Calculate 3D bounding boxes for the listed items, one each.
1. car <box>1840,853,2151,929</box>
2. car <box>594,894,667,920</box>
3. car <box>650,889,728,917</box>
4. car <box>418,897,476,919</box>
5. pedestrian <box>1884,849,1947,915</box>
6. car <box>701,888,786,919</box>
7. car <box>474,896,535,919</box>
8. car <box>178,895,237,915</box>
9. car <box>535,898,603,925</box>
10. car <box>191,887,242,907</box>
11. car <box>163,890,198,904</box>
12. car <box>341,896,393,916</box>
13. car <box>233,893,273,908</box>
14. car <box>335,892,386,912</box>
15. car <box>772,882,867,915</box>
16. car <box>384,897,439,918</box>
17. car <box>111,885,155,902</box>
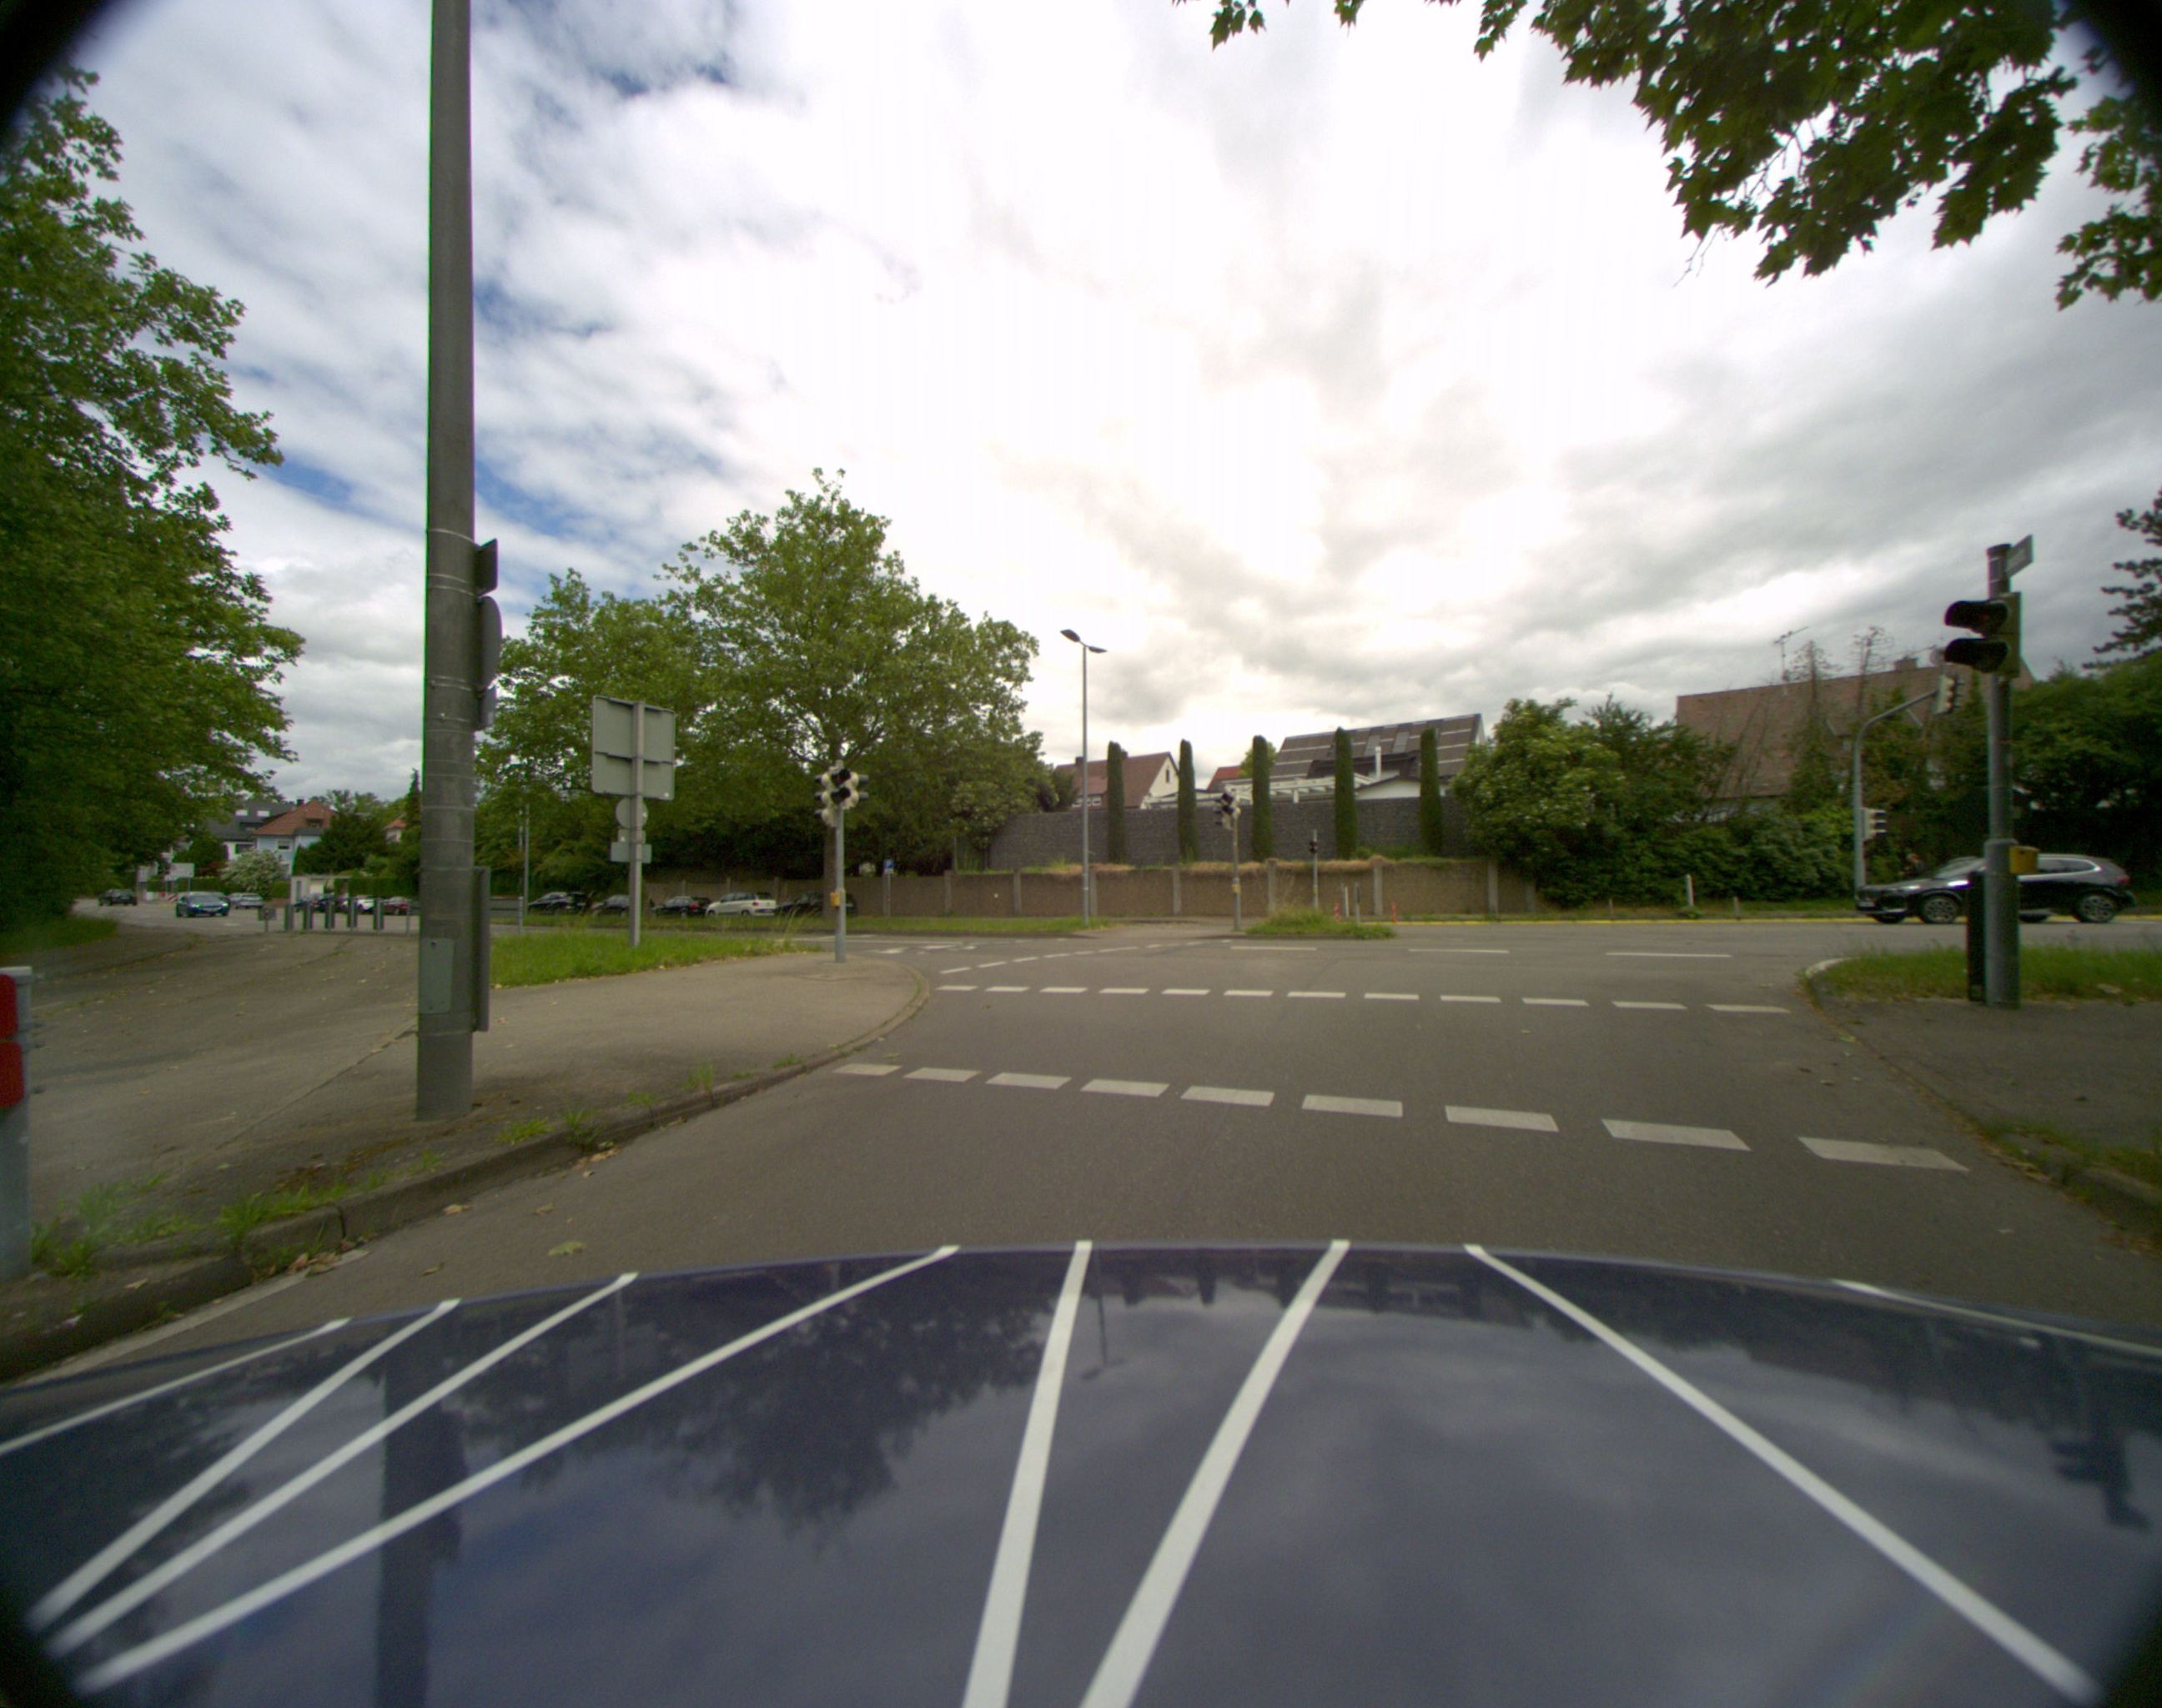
[{"bbox_3d":[21.687,0.926,18.277,4.457,1.621,1.849,-2,-3,15],"label":"car"},{"bbox_3d":[-26.789,3.156,45.169,4.028,1.495,1.802,-2,-4,26],"label":"car"},{"bbox_3d":[-22.022,2.776,42.639,4.028,1.495,1.802,-2,-4,26],"label":"car"},{"bbox_3d":[-44.932,3.808,53.869,3.822,1.495,1.691,-2,-4,26],"label":"car"},{"bbox_3d":[26.099,0.878,23.770,0.853,2.001,0.953,-2,-1,7],"label":"pedestrian"},{"bbox_3d":[-18.065,2.672,40.614,4.207,1.605,1.802,-2,-4,25],"label":"car"},{"bbox_3d":[-38.680,3.599,50.973,3.822,1.495,1.691,-2,-4,26],"label":"car"},{"bbox_3d":[-62.962,3.705,54.785,4.137,1.419,1.802,-2,-4,27],"label":"car"},{"bbox_3d":[-32.158,3.603,47.681,4.028,1.593,1.801,-2,-2,27],"label":"car"},{"bbox_3d":[-73.048,3.651,64.169,4.576,1.605,1.802,-2,-4,28],"label":"car"},{"bbox_3d":[-90.708,4.338,76.535,3.821,1.321,1.690,-2,-2,30],"label":"car"},{"bbox_3d":[-55.430,4.050,58.981,3.822,1.495,1.691,-2,-4,26],"label":"car"},{"bbox_3d":[-75.220,4.219,69.007,3.821,1.321,1.690,-2,-2,30],"label":"car"},{"bbox_3d":[-57.725,3.860,60.882,3.822,1.495,1.691,-2,-4,26],"label":"car"},{"bbox_3d":[-13.087,2.244,38.026,4.451,1.605,1.801,-2,-4,24],"label":"car"},{"bbox_3d":[-49.612,3.964,56.318,3.822,1.495,1.691,-2,-4,26],"label":"car"},{"bbox_3d":[-92.587,3.840,74.171,3.904,1.605,1.849,-2,-4,27],"label":"car"}]
